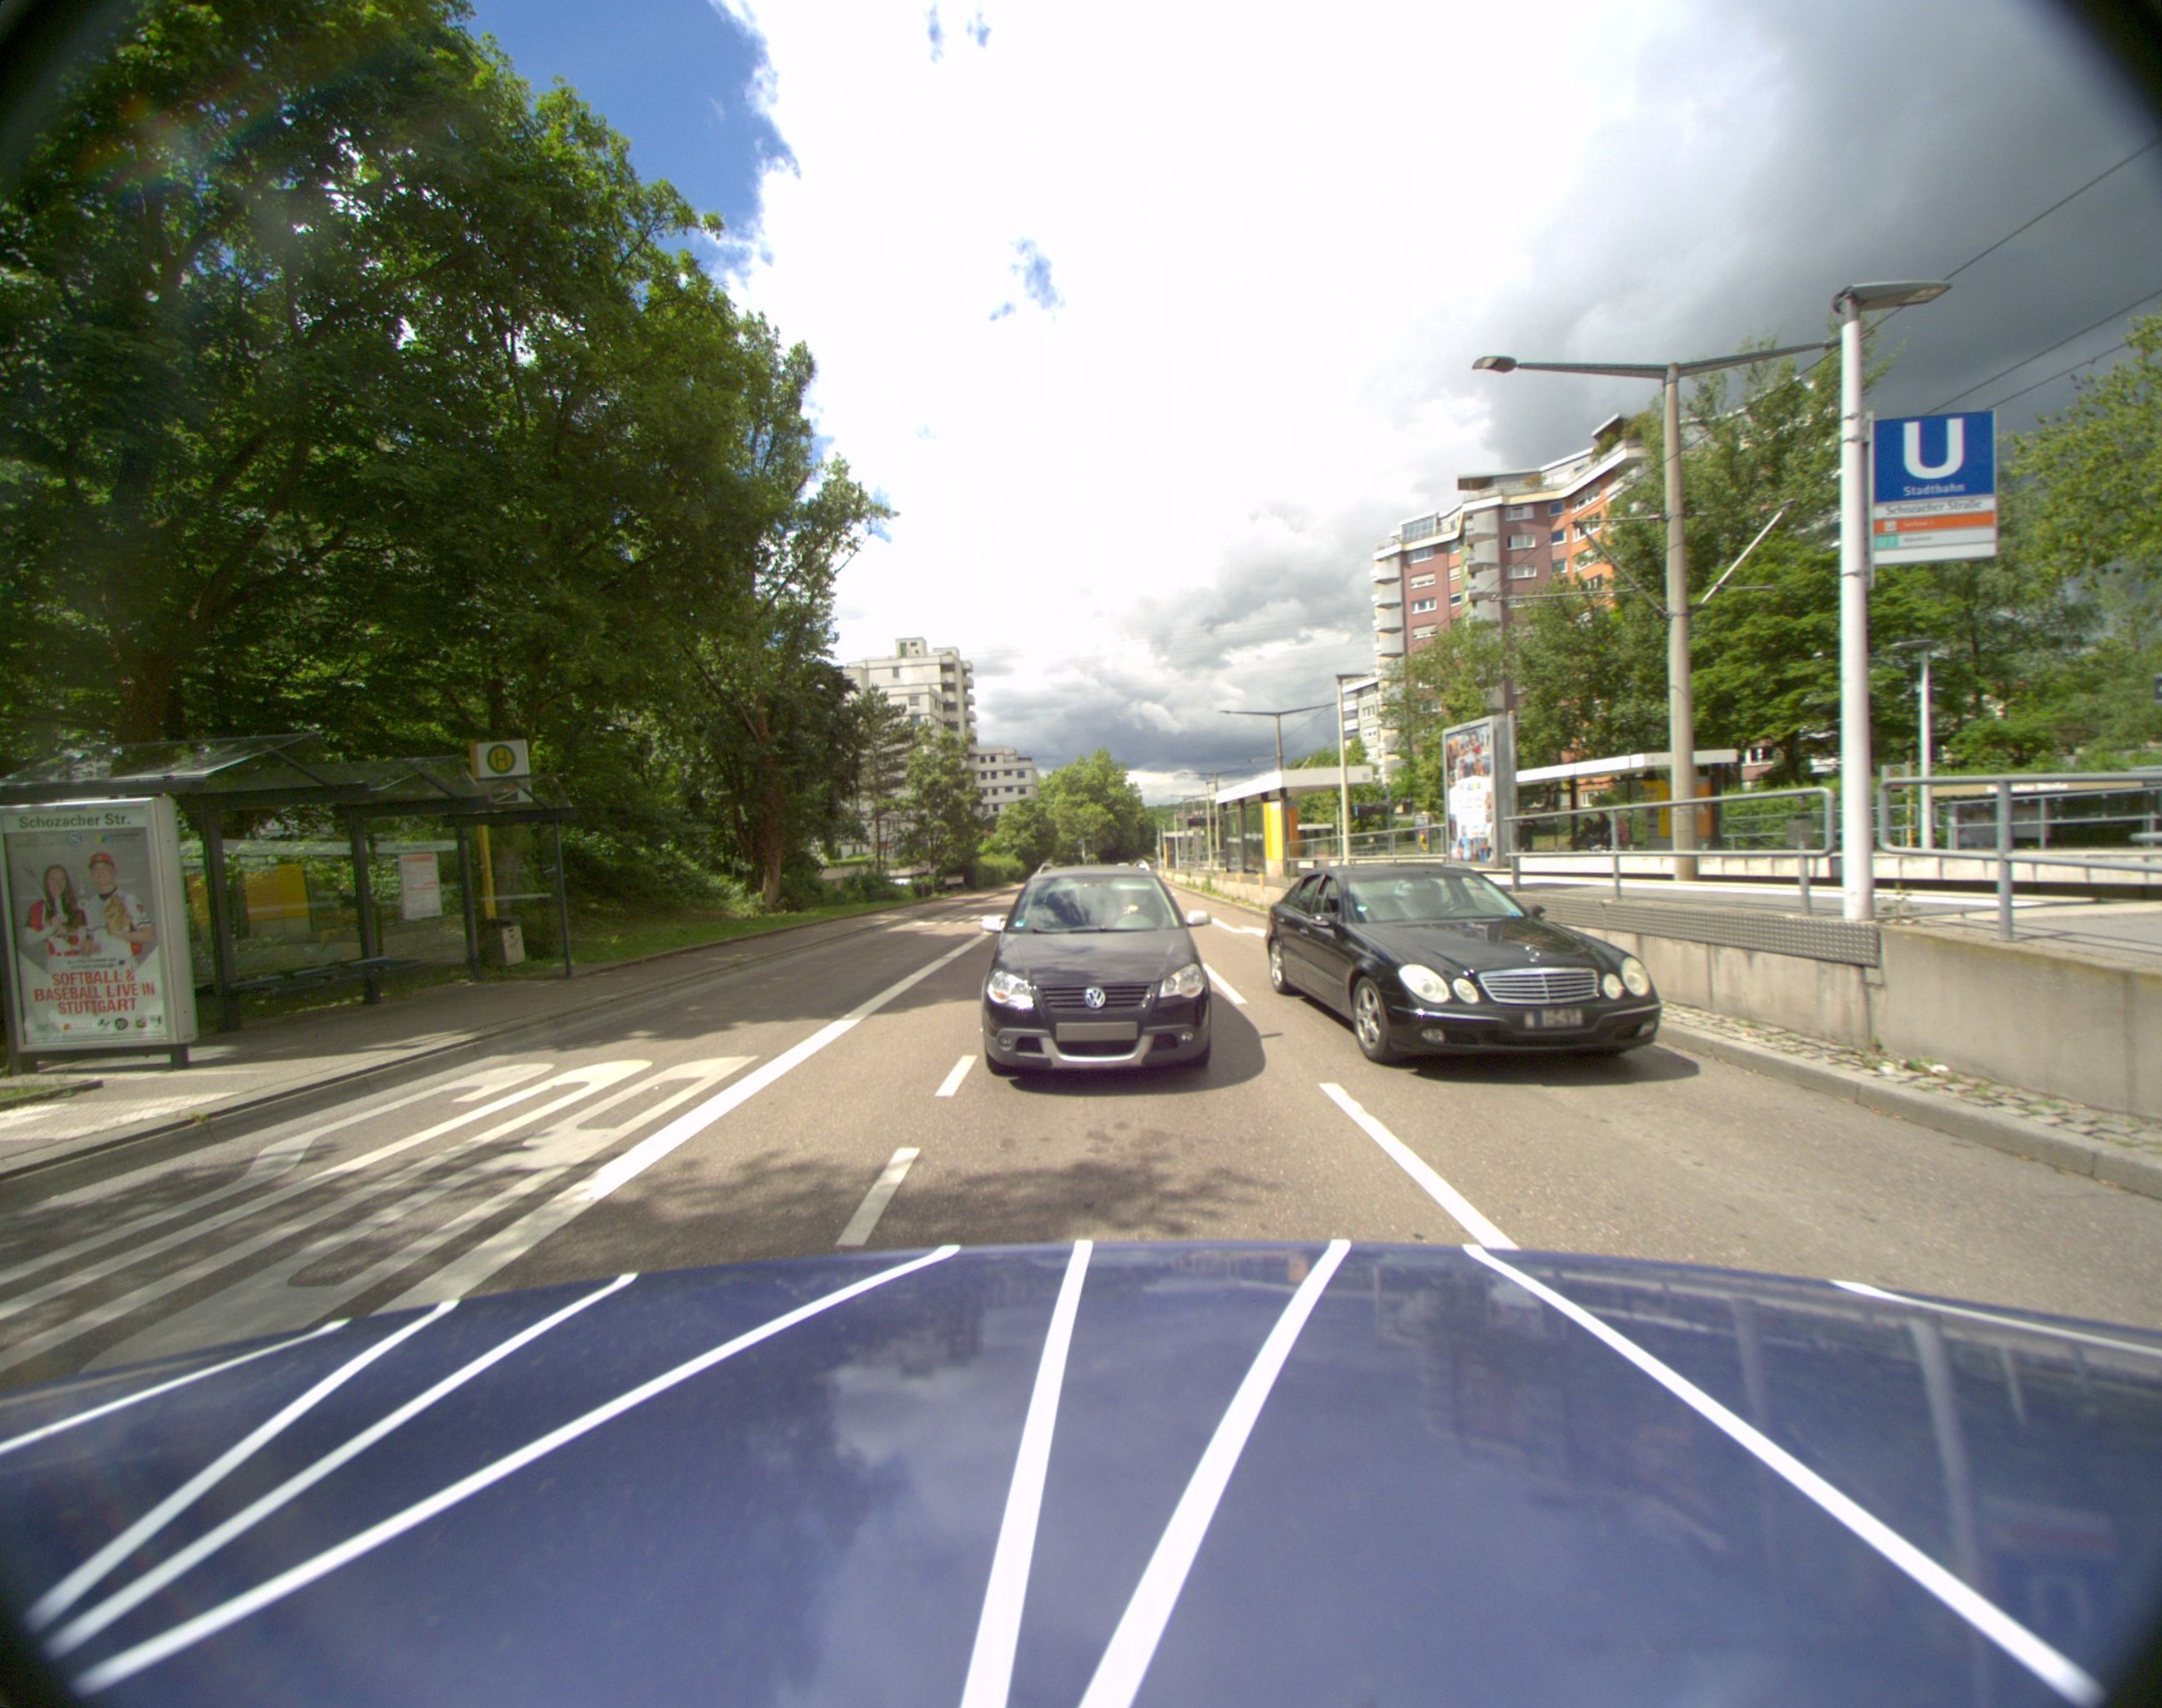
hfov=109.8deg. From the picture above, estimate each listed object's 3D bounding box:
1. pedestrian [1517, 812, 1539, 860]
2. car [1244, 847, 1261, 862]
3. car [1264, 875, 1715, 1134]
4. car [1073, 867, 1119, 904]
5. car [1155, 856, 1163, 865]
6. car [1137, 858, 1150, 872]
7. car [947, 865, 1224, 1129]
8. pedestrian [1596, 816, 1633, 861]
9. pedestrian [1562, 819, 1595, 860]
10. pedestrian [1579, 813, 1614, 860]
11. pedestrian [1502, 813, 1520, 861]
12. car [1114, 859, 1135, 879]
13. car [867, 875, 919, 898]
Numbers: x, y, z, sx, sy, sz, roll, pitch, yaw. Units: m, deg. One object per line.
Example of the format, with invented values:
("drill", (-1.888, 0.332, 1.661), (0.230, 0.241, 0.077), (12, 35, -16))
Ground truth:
("pedestrian", (15.994, -0.646, 27.206), (0.387, 1.703, 0.550), (-2, 0, -42))
("car", (25.313, 0.060, 112.001), (1.737, 2.002, 4.001), (-2, 0, 3))
("car", (2.901, 0.960, 6.536), (1.821, 1.377, 4.066), (-2, 0, 3))
("car", (0.702, 1.316, 32.942), (1.821, 1.377, 4.066), (-2, 0, 3))
("car", (16.137, 1.361, 158.093), (1.518, 1.674, 4.001), (-2, 0, 4))
("car", (8.839, 1.539, 107.630), (1.801, 1.698, 4.001), (-2, 0, 5))
("car", (0.145, 0.917, 6.654), (1.641, 1.521, 4.001), (-2, 0, 4))
("pedestrian", (15.791, -0.455, 22.498), (0.713, 1.270, 0.463), (-2, 0, 1))
("pedestrian", (15.978, -0.452, 24.393), (0.713, 1.270, 0.463), (-2, 0, 1))
("pedestrian", (15.816, -0.521, 23.331), (0.713, 1.409, 0.463), (-2, 0, 1))
("pedestrian", (15.561, -0.608, 27.507), (0.354, 1.703, 0.426), (-2, 0, -41))
("car", (4.897, 1.662, 85.536), (1.997, 2.002, 4.002), (-2, 0, 7))
("car", (-18.539, 3.230, 75.089), (4.543, 2.002, 2.001), (-2, 0, 8))
